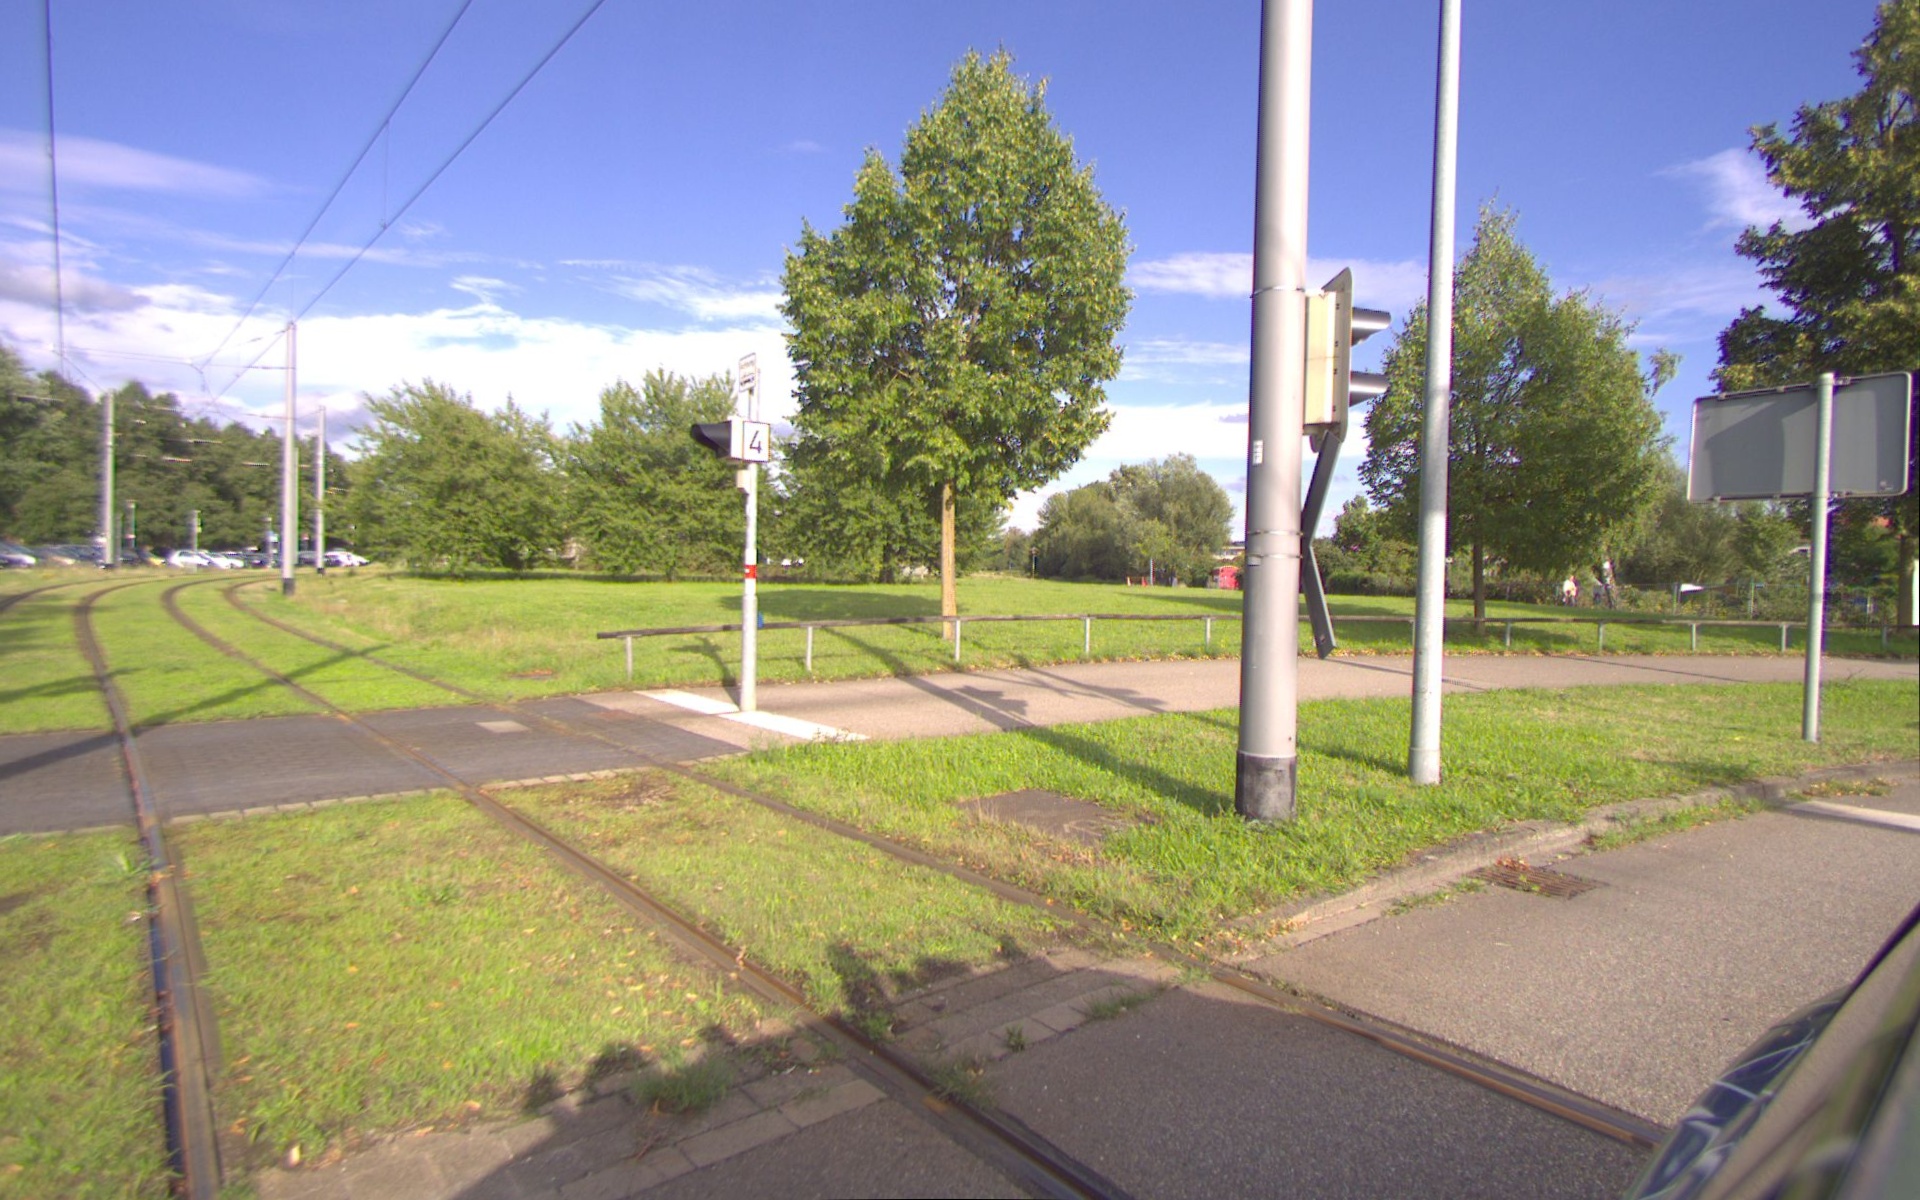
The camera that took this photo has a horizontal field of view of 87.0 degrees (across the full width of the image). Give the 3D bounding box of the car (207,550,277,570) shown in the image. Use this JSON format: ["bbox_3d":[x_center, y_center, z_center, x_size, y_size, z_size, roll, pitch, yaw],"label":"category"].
[{"bbox_3d":[-58.996,-3.300,83.247,4.380,1.560,1.862,1,2,-4],"label":"car"}]

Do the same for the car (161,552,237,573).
[{"bbox_3d":[-58.411,-2.867,77.776,4.380,1.560,1.862,1,2,-4],"label":"car"}]

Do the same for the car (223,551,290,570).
[{"bbox_3d":[-60.022,-3.375,86.343,4.380,1.560,1.862,1,2,-4],"label":"car"}]

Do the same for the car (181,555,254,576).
[{"bbox_3d":[-58.969,-2.773,80.410,4.380,1.560,1.862,1,2,-4],"label":"car"}]

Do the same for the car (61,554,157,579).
[{"bbox_3d":[-54.684,-2.162,65.077,4.376,1.560,1.863,1,2,-11],"label":"car"}]

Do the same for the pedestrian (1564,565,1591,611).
[{"bbox_3d":[24.315,-0.478,39.876,0.654,1.754,0.598,0,2,-22],"label":"pedestrian"}]

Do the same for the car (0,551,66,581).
[{"bbox_3d":[-50.859,-1.835,53.992,4.376,1.560,1.863,1,2,-11],"label":"car"}]

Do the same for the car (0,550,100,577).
[{"bbox_3d":[-52.138,-2.083,57.716,4.376,1.471,1.863,1,2,-11],"label":"car"}]

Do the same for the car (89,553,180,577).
[{"bbox_3d":[-55.250,-2.355,67.799,4.376,1.560,1.863,1,2,-11],"label":"car"}]

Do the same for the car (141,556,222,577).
[{"bbox_3d":[-57.355,-2.484,74.661,4.375,1.493,1.804,0,2,-14],"label":"car"}]

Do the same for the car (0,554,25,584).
[{"bbox_3d":[-50.615,-1.612,51.360,4.376,1.534,1.807,1,2,-11],"label":"car"}]

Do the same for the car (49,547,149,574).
[{"bbox_3d":[-53.521,-2.465,62.978,4.376,1.560,1.863,1,2,-11],"label":"car"}]
